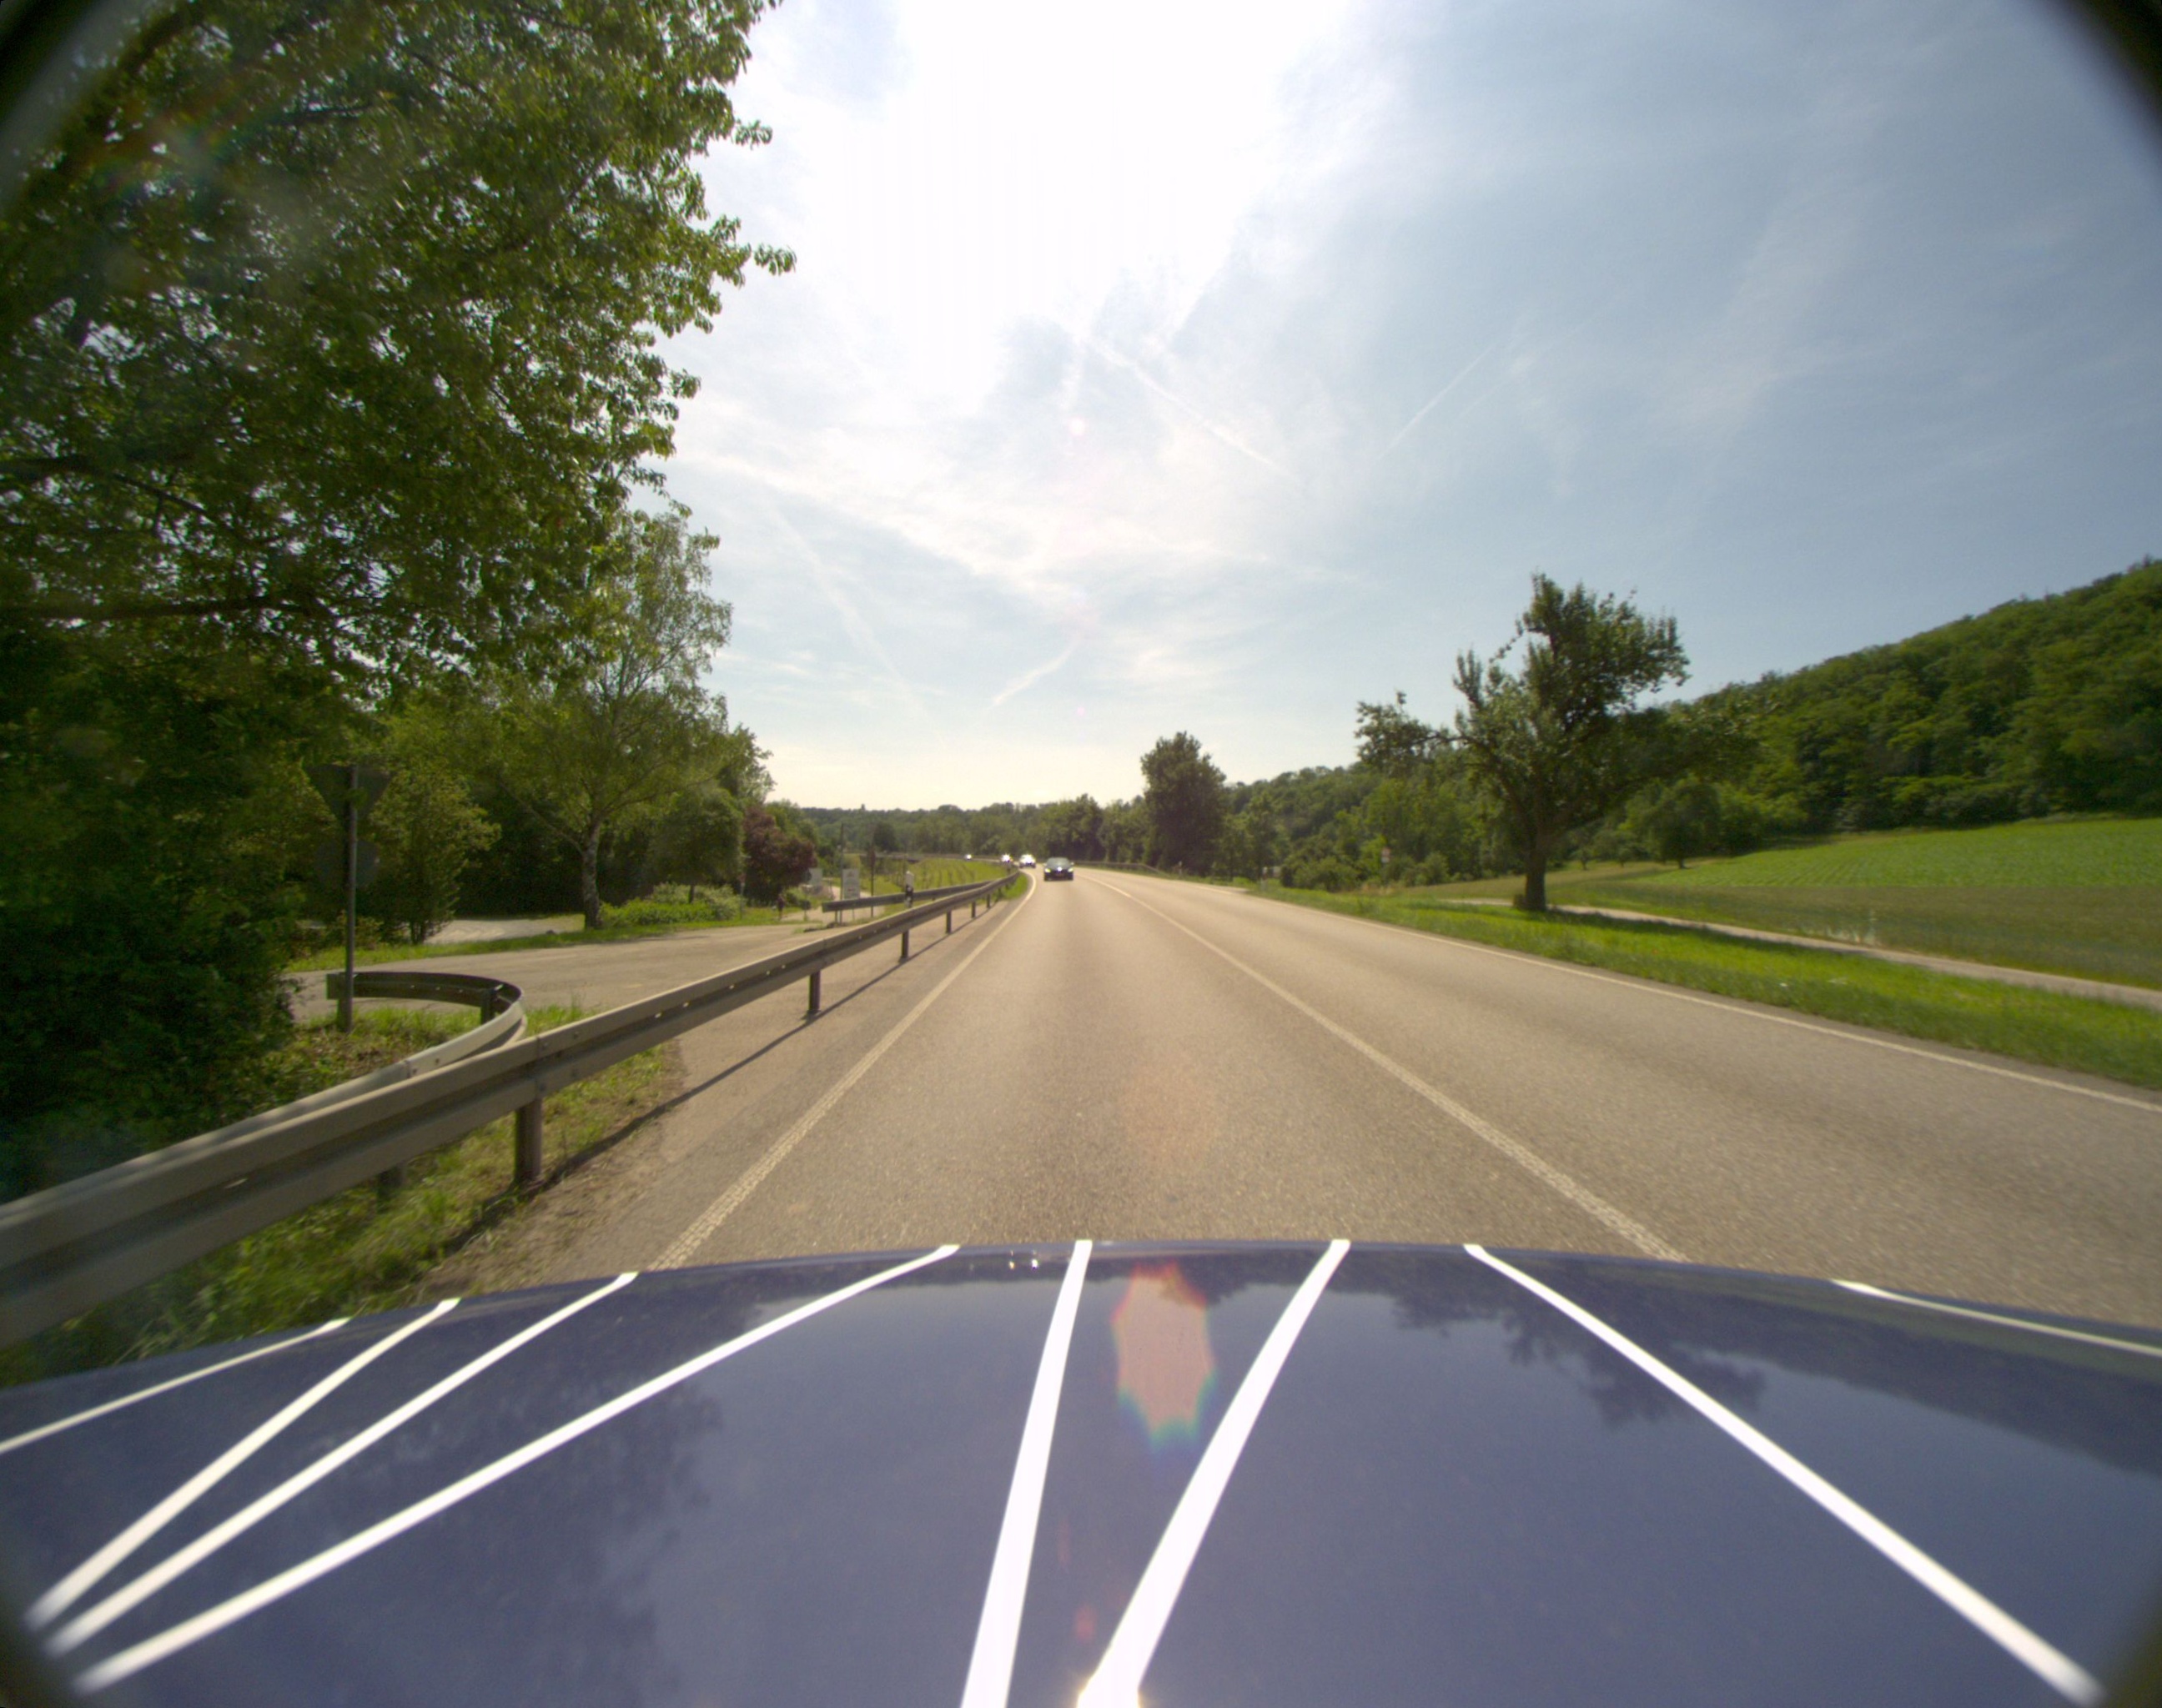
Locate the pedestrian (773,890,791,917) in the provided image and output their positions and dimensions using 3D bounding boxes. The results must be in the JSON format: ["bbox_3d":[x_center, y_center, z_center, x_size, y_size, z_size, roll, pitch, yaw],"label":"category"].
[{"bbox_3d":[-20.489,3.404,52.074,0.887,1.800,0.959,2,0,-6],"label":"pedestrian"}]

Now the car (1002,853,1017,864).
[{"bbox_3d":[-12.258,0.724,130.303,1.982,1.723,3.994,-1,2,-12],"label":"car"}]

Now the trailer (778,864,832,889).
[{"bbox_3d":[-39.506,3.180,108.297,2.733,3.309,11.861,-2,1,-43],"label":"trailer"}]

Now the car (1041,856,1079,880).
[{"bbox_3d":[-1.377,0.854,48.245,1.981,1.333,3.997,-1,1,-7],"label":"car"}]

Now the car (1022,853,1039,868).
[{"bbox_3d":[-6.444,0.801,96.449,1.981,1.779,3.998,-1,0,-6],"label":"car"}]
